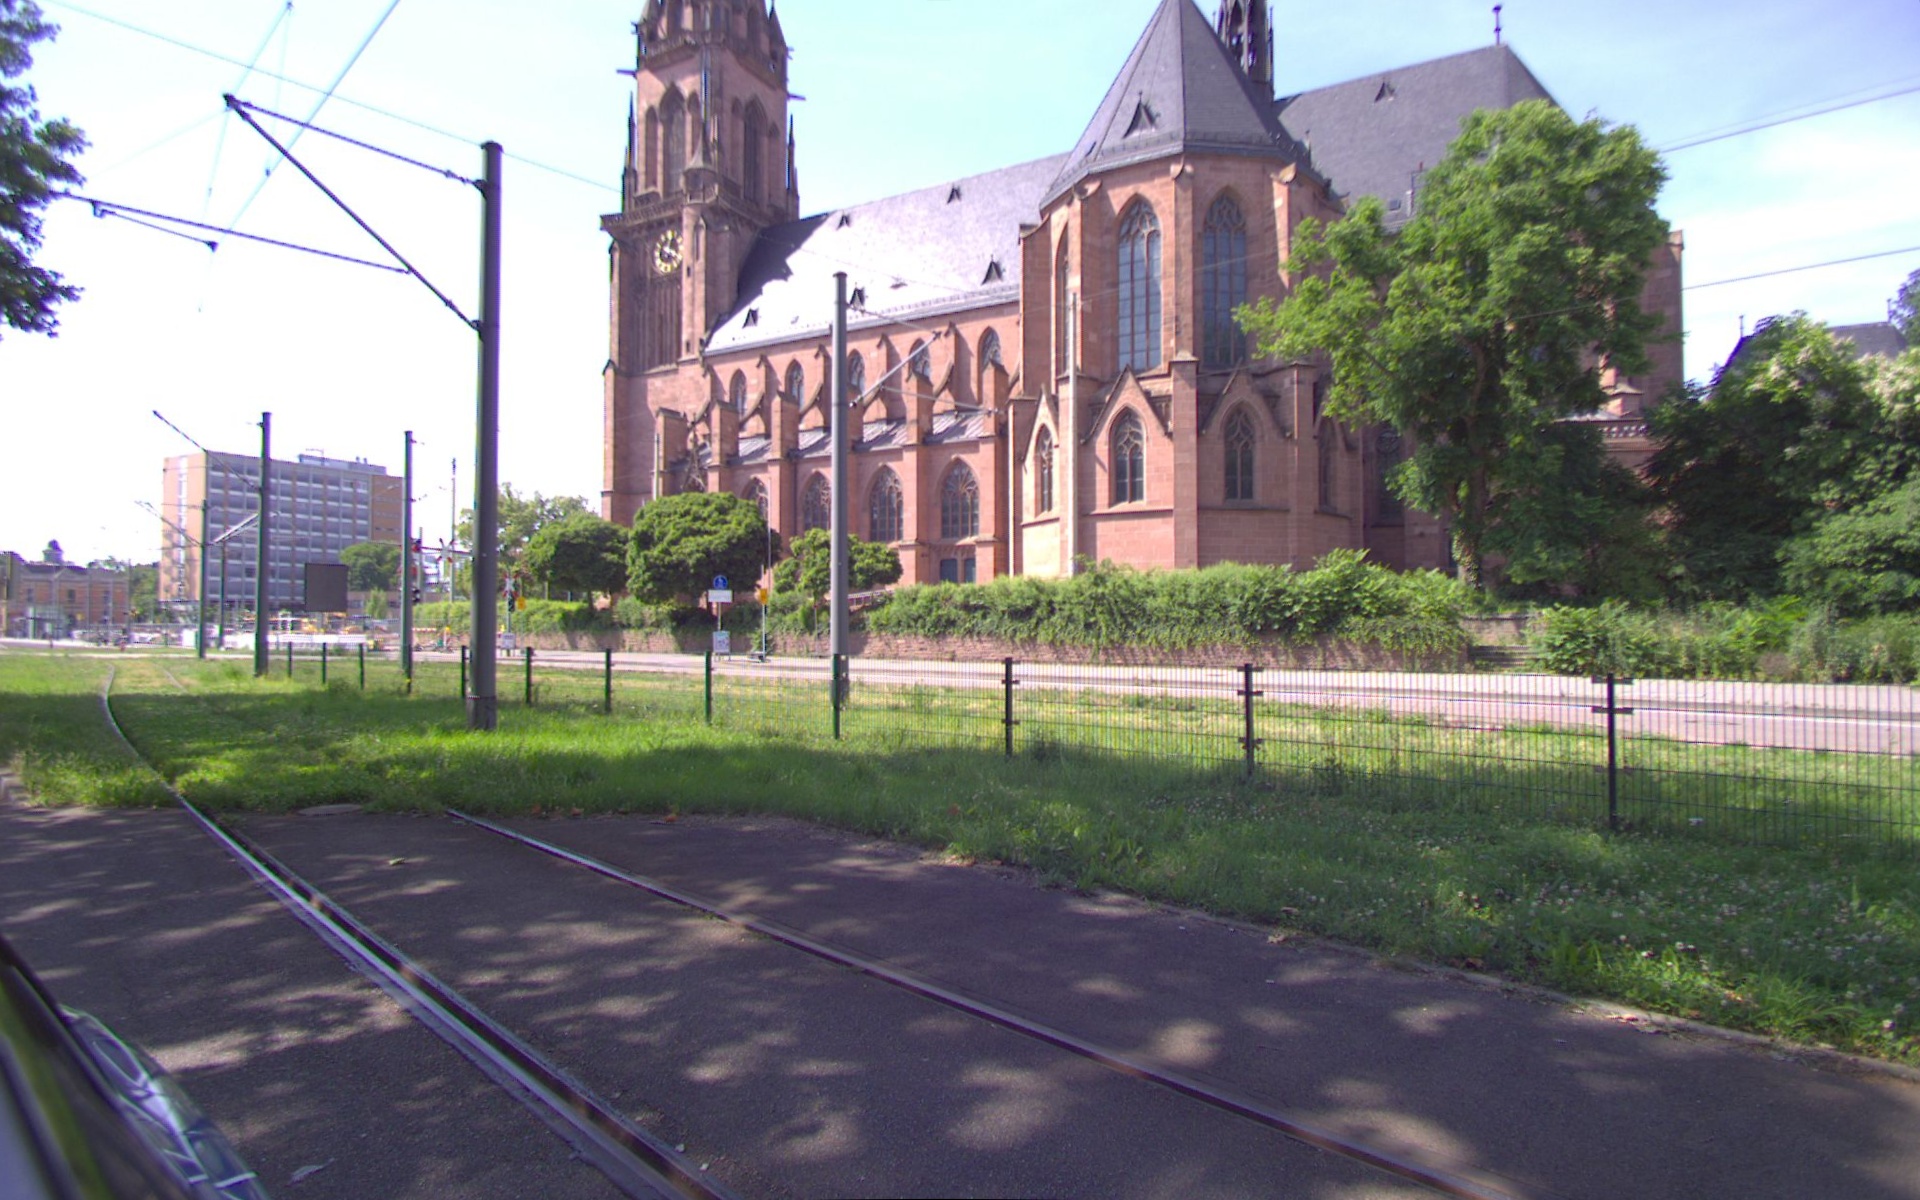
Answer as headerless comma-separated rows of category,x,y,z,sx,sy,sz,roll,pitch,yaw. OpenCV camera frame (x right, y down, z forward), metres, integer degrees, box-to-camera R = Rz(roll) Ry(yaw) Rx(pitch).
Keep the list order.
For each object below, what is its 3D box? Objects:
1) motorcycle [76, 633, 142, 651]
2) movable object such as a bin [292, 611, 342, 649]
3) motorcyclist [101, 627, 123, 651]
motorcycle,-69.450,3.420,82.646,3.869,1.349,1.249,1,-2,-28
movable object such as a bin,-67.135,3.143,105.760,2.904,3.911,3.327,0,-2,8
motorcyclist,-69.292,3.194,82.743,1.089,1.945,1.337,1,-2,-28
